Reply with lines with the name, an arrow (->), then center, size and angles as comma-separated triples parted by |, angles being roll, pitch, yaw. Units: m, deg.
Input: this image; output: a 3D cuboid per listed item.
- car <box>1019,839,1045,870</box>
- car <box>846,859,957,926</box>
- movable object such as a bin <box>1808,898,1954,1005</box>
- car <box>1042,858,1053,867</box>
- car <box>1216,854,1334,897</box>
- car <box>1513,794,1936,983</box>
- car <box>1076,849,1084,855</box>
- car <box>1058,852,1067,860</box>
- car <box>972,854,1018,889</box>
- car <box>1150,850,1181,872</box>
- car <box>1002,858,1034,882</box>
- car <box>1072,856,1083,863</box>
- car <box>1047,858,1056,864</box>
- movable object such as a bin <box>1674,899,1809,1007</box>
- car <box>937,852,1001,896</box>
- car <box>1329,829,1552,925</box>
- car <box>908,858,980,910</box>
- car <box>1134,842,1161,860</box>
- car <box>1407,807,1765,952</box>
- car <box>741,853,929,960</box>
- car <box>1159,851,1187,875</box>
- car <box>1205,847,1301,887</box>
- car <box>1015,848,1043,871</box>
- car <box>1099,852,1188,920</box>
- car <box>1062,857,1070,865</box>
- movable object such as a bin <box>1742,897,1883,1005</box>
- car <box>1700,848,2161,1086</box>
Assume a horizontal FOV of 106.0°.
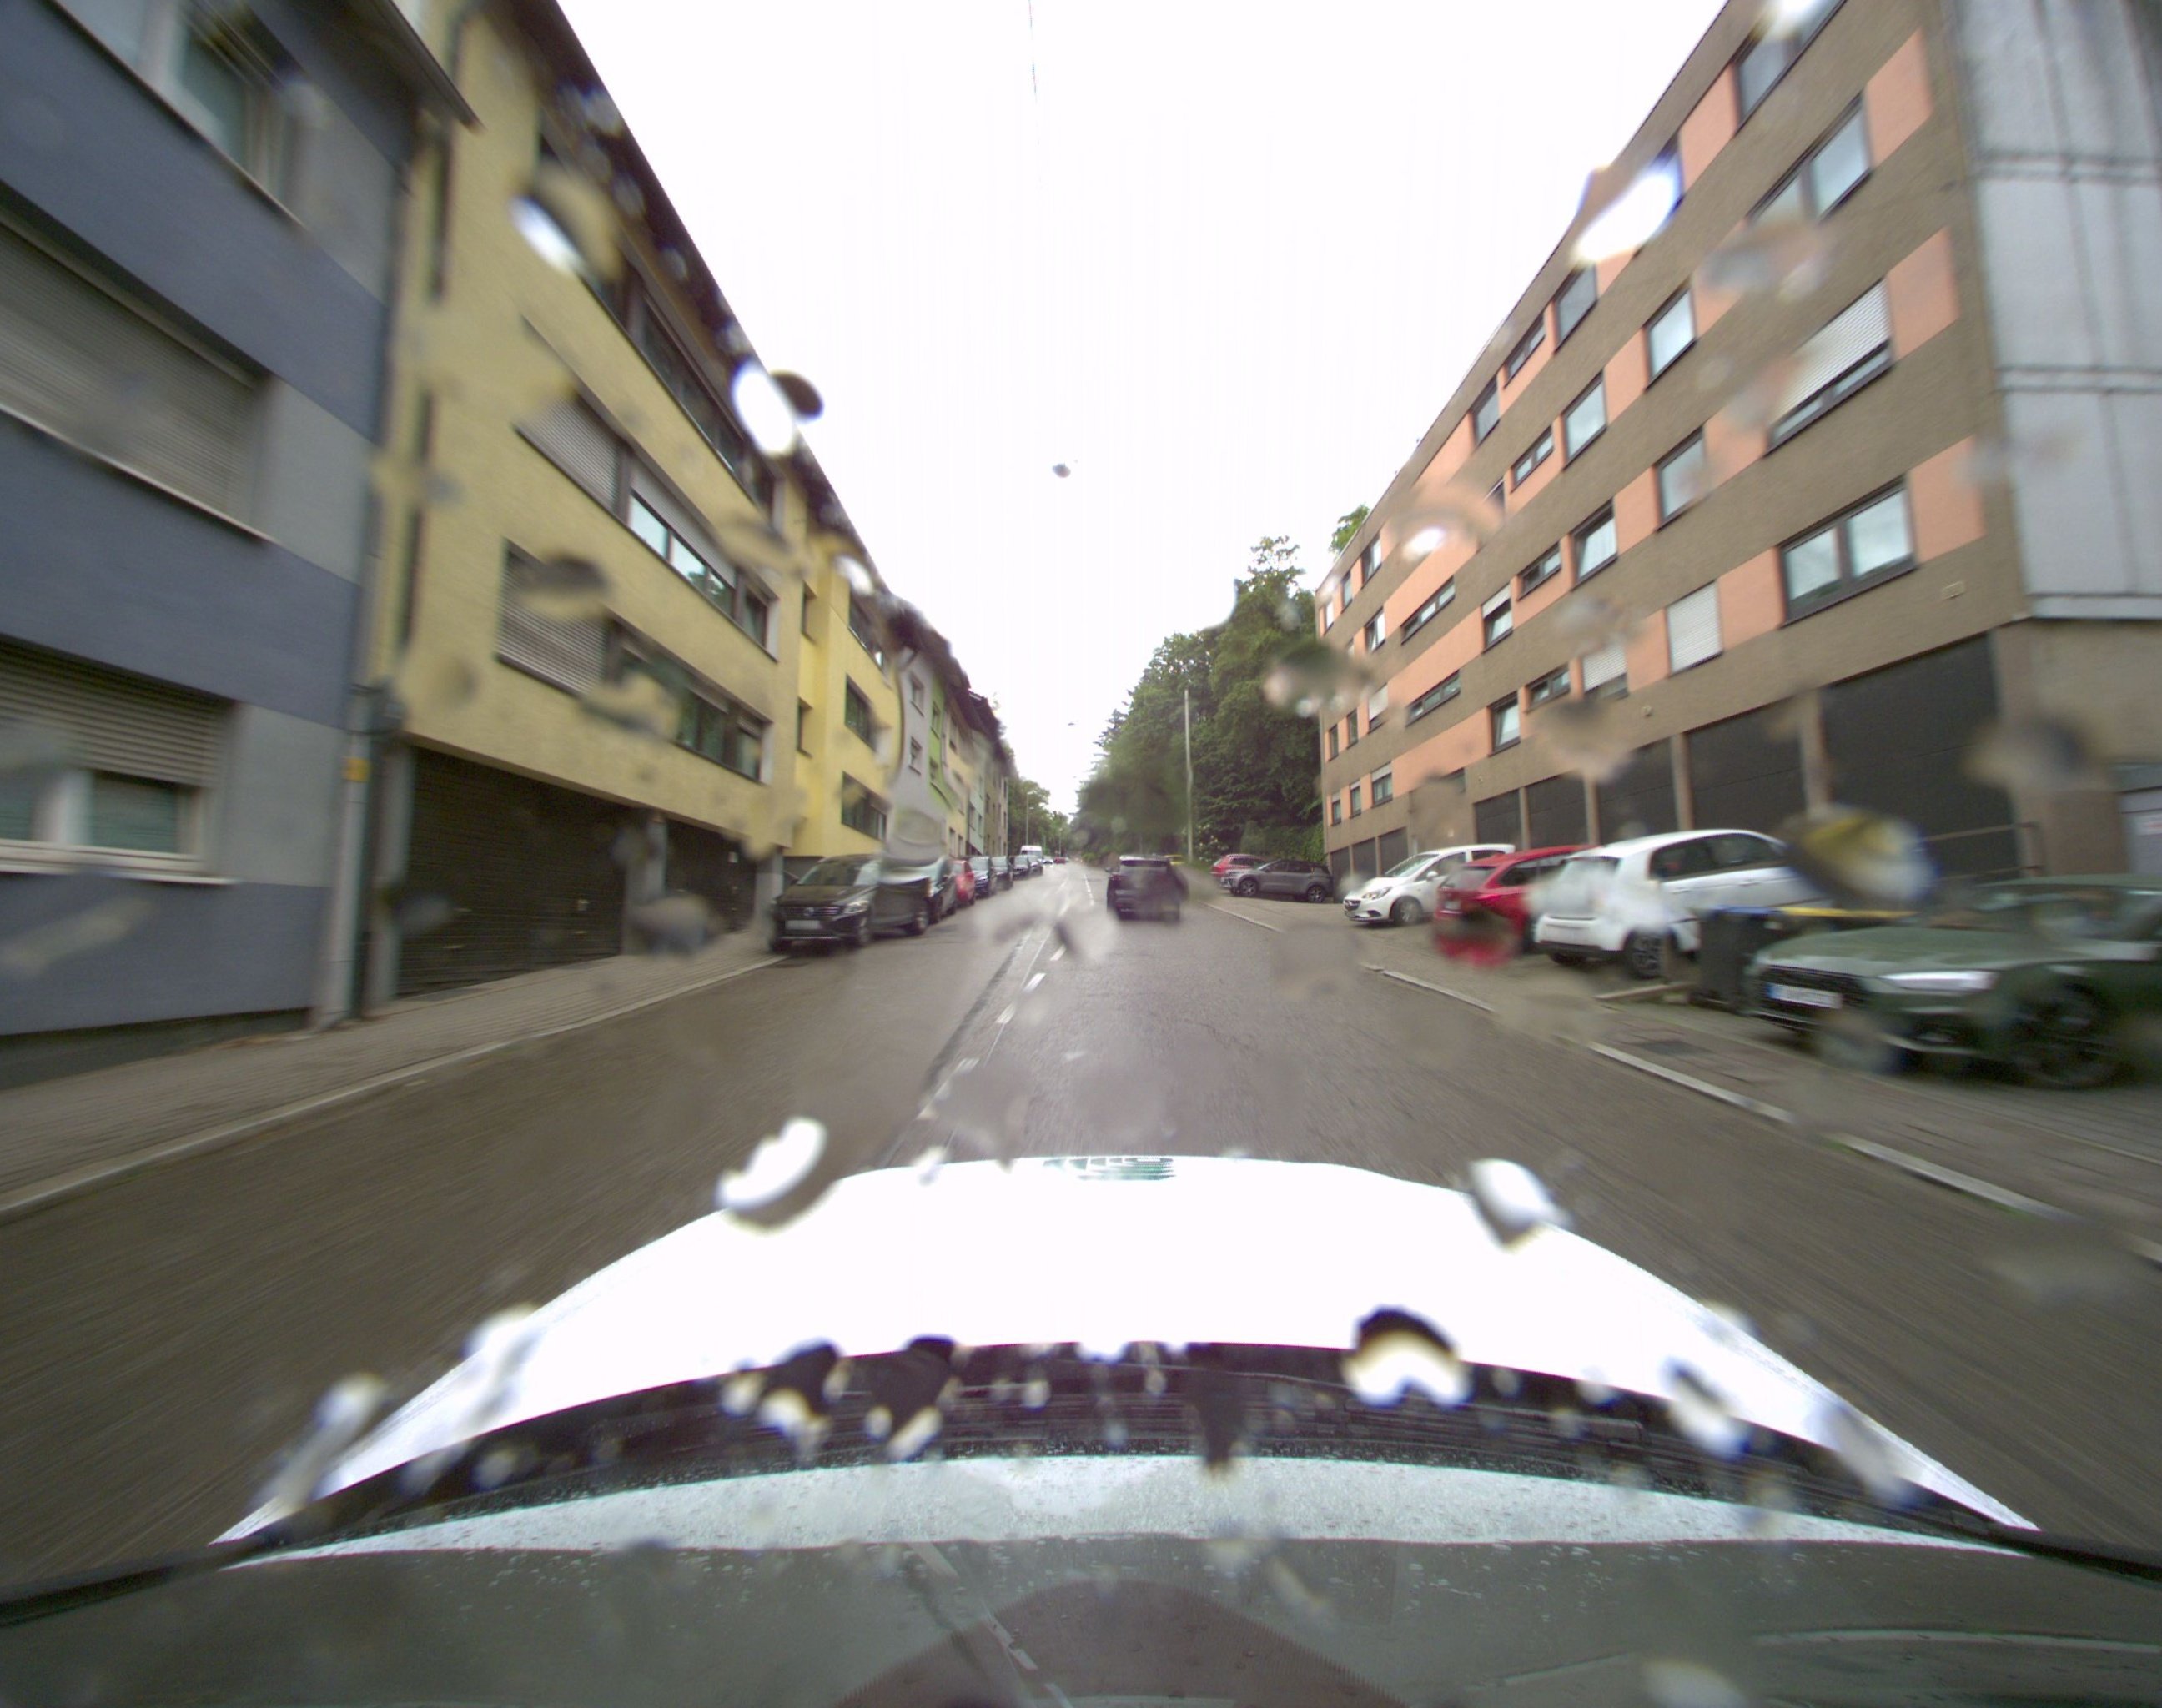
car -> -4.175, 0.032, 70.414 | 1.985, 2.475, 5.781 | -1, 0, -1
car -> -4.489, 0.900, 21.106 | 1.988, 1.472, 4.346 | -1, 0, -2
movable object such as a bin -> 8.153, 0.970, 8.336 | 0.720, 1.021, 0.771 | 1, -2, -1
car -> -6.745, 1.702, 164.264 | 1.988, 1.559, 3.997 | 1, 0, -2
car -> 7.565, 0.825, 31.992 | 4.188, 1.496, 1.758 | 2, 0, -3
car -> 7.787, 0.381, 10.113 | 3.817, 1.702, 1.727 | -7, 0, -2
car -> -0.280, -0.530, 215.121 | 1.986, 1.560, 4.001 | -2, -2, 2
car -> -4.054, 0.455, 176.892 | 2.069, 1.559, 3.997 | 0, 0, -2
car -> -4.097, 0.804, 39.551 | 1.848, 1.585, 4.302 | -1, 0, -2
car -> 6.422, 0.515, 62.187 | 1.805, 1.530, 4.415 | -3, 0, -1
car -> -4.402, 1.097, 57.227 | 1.985, 1.585, 4.302 | -1, 0, -2
car -> -0.755, 1.247, 177.002 | 2.070, 1.559, 3.995 | 0, 0, -4
car -> -7.279, 1.723, 198.887 | 2.069, 1.559, 3.997 | 0, 0, -2
movable object such as a bin -> 6.642, 0.974, 8.225 | 0.720, 1.021, 0.771 | 1, -2, -1
car -> -4.345, 0.739, 32.264 | 1.988, 1.585, 4.469 | -1, 0, -2
car -> 7.613, 0.462, 17.448 | 3.955, 1.530, 1.690 | -6, 0, -5
car -> -4.250, 0.896, 25.716 | 1.724, 1.472, 3.489 | -1, 0, -2
car -> 5.947, -0.259, 72.770 | 1.807, 1.530, 4.412 | -3, 0, -3
car -> 7.684, 0.360, 12.691 | 4.331, 1.529, 1.875 | -8, 0, -2
car -> -4.324, 0.837, 15.167 | 1.986, 1.650, 4.443 | -1, 0, 2
car -> 6.200, 0.607, 55.213 | 1.626, 1.530, 4.002 | 1, 0, 2
car -> 8.317, 0.617, 39.573 | 4.190, 1.734, 1.757 | 2, 0, -5
car -> -4.047, 0.397, 63.673 | 1.985, 1.755, 4.477 | -1, 0, -2
car -> 1.514, 0.744, 21.262 | 1.987, 1.559, 3.999 | 1, 0, 0
car -> -4.256, 1.897, 227.108 | 1.986, 2.014, 4.001 | 1, -2, 2
movable object such as a bin -> 7.399, 0.959, 8.276 | 0.720, 1.021, 0.771 | 1, -2, -1
car -> 7.564, 0.717, 6.257 | 4.257, 1.466, 1.892 | -1, 0, -2
